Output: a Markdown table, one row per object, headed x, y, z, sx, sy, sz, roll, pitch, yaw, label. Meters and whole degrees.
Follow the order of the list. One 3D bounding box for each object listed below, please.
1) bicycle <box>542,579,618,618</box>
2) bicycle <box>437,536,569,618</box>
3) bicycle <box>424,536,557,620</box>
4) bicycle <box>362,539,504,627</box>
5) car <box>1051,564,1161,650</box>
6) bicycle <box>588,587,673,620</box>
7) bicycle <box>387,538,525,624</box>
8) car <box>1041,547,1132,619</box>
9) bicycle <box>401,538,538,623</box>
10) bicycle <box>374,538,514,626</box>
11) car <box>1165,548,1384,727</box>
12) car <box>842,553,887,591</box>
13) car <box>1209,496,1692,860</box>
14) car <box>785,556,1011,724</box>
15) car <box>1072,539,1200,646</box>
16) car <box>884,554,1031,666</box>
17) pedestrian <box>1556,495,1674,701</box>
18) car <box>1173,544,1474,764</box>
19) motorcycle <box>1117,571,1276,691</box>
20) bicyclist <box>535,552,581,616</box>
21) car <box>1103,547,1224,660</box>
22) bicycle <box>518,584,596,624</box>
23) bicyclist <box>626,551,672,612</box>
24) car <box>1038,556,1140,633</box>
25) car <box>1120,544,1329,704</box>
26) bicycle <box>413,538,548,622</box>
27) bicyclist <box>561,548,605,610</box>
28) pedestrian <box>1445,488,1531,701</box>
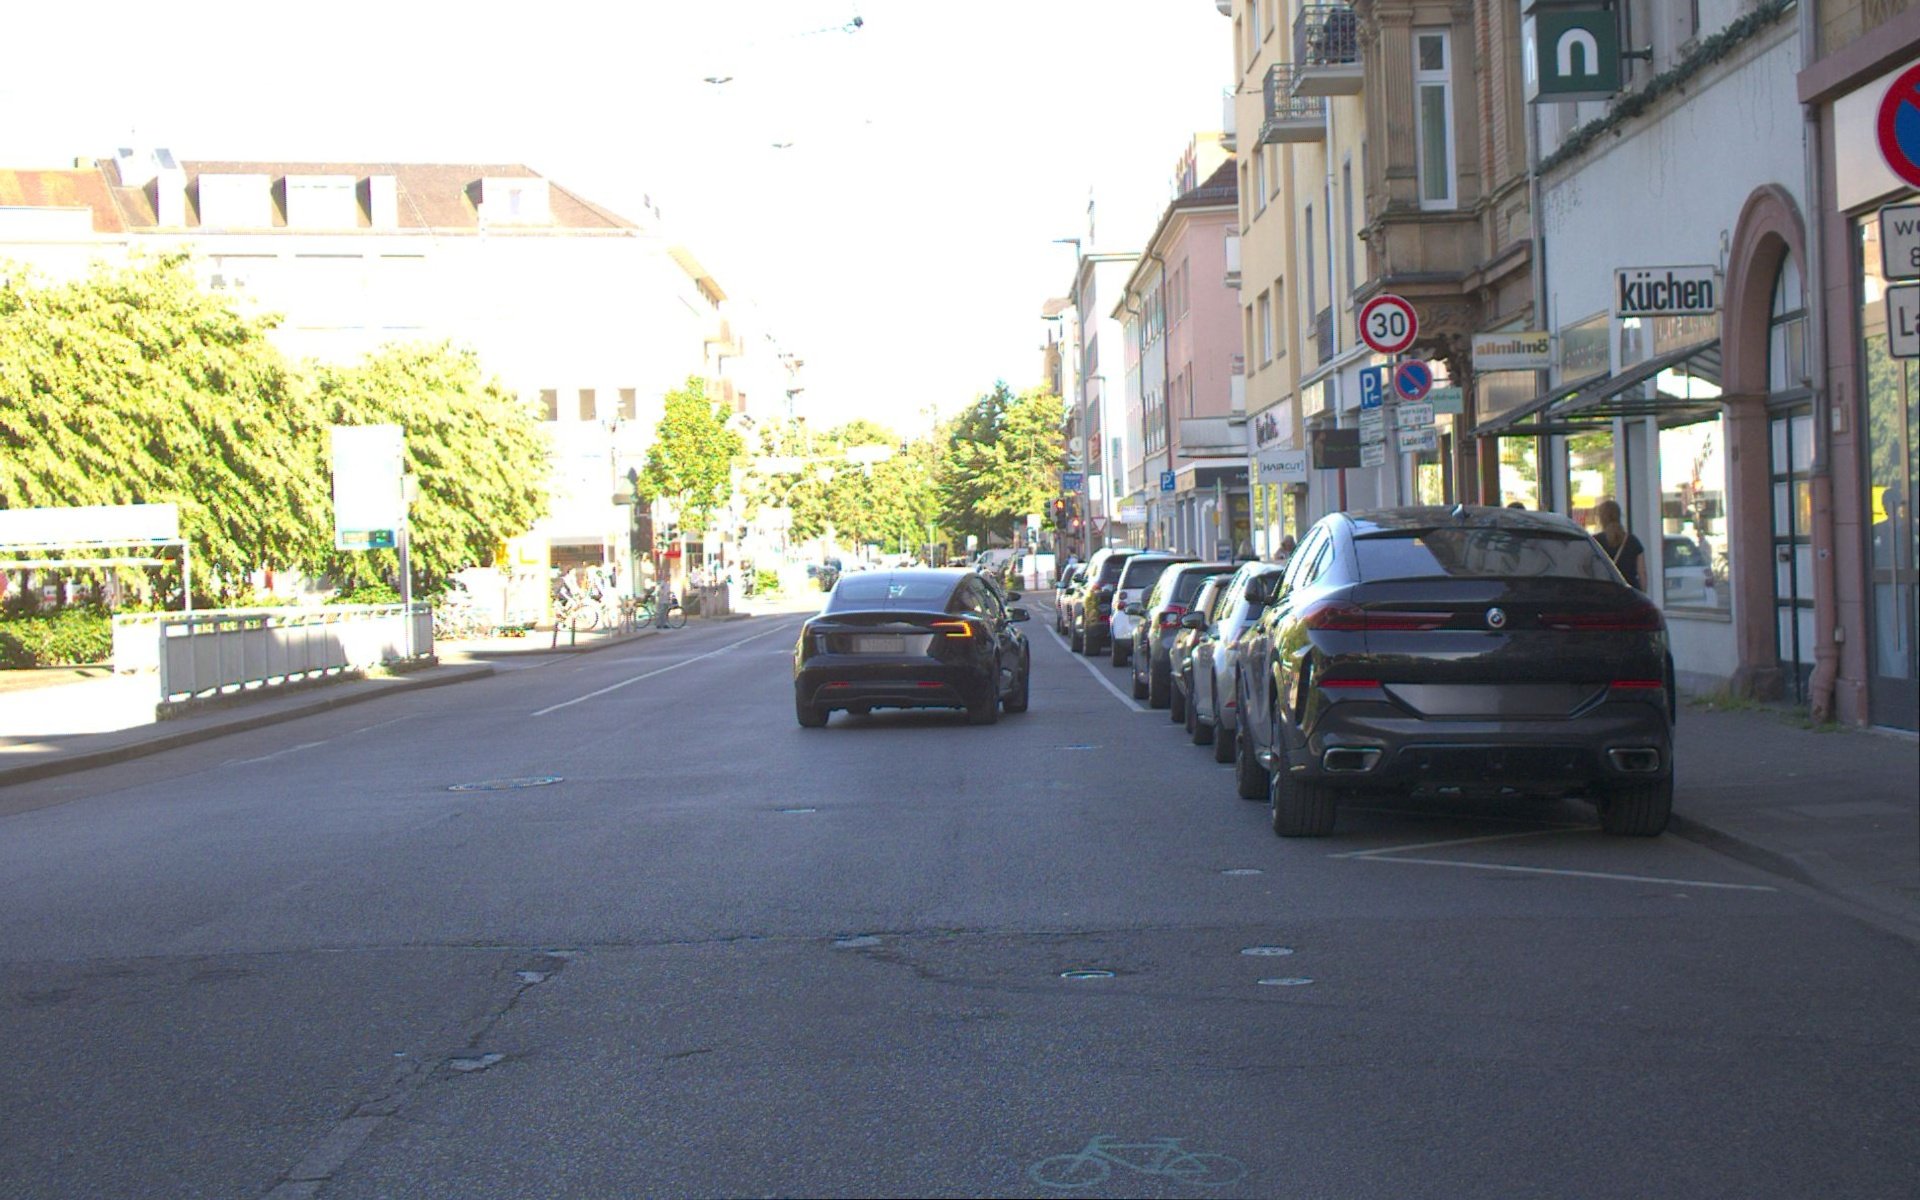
| x | y | z | sx | sy | sz | roll | pitch | yaw | label |
| --- | --- | --- | --- | --- | --- | --- | --- | --- | --- |
| -10.495 | -0.049 | 95.041 | 2.011 | 1.018 | 0.762 | -1 | 1 | -3 | bicycle |
| -11.539 | -0.582 | 86.840 | 3.122 | 2.007 | 0.908 | -1 | 1 | 10 | bicycle |
| -11.703 | -0.550 | 85.800 | 3.122 | 2.007 | 0.908 | -1 | 1 | 10 | bicycle |
| -12.372 | -0.407 | 80.695 | 3.122 | 2.007 | 0.908 | -1 | 1 | 10 | bicycle |
| 2.558 | 0.120 | 60.909 | 1.792 | 1.455 | 4.084 | 0 | 0 | 0 | car |
| -9.315 | 0.102 | 97.134 | 2.244 | 0.880 | 0.923 | -1 | 1 | 4 | bicycle |
| -12.105 | -0.464 | 82.639 | 3.122 | 2.007 | 0.908 | -1 | 1 | 10 | bicycle |
| 2.625 | -0.338 | 72.169 | 1.792 | 1.455 | 3.868 | 0 | 0 | 0 | car |
| -11.930 | -0.471 | 83.683 | 3.122 | 2.007 | 0.908 | -1 | 1 | 10 | bicycle |
| -12.251 | -0.435 | 81.650 | 3.122 | 2.007 | 0.908 | -1 | 1 | 10 | bicycle |
| 2.720 | 0.281 | 30.375 | 1.608 | 1.444 | 3.830 | 0 | 1 | 0 | car |
| -4.728 | -1.401 | 170.012 | 1.993 | 1.765 | 4.000 | 0 | 2 | 2 | car |
| 2.503 | 0.318 | 18.727 | 1.973 | 1.719 | 4.824 | 0 | 1 | 0 | car |
| -0.576 | 0.356 | 32.691 | 1.995 | 1.475 | 4.495 | 0 | 0 | -1 | car |
| 2.762 | -0.111 | 54.628 | 1.716 | 1.630 | 4.084 | 0 | 0 | -1 | car |
| 0.005 | 0.110 | 49.639 | 1.935 | 1.482 | 4.271 | -1 | 1 | 2 | car |
| 5.496 | -0.023 | 28.877 | 0.801 | 1.669 | 0.589 | -3 | 1 | 3 | pedestrian |
| 2.632 | 0.340 | 25.757 | 1.839 | 1.482 | 4.184 | 0 | 1 | 0 | car |
| 2.779 | 0.350 | 40.201 | 2.039 | 1.323 | 0.656 | -2 | 1 | -45 | motorcycle |
| -10.844 | -0.432 | 92.743 | 1.146 | 1.680 | 0.919 | -1 | 1 | -3 | bicyclist |
| 2.878 | 0.024 | 49.009 | 1.613 | 1.541 | 2.855 | 0 | 1 | 1 | car |
| -10.872 | 0.095 | 92.749 | 2.011 | 1.018 | 0.888 | -1 | 1 | -3 | bicycle |
| -8.783 | -0.517 | 97.086 | 1.146 | 1.680 | 0.914 | -1 | 1 | 4 | bicyclist |
| 2.517 | -0.105 | 67.777 | 1.792 | 1.455 | 3.868 | 0 | 0 | -1 | car |
| 2.716 | 0.205 | 36.127 | 1.839 | 1.541 | 4.228 | 0 | 1 | 0 | car |
| -11.822 | -0.491 | 84.764 | 3.122 | 2.007 | 0.908 | -1 | 1 | 10 | bicycle |
| -10.418 | -0.574 | 95.043 | 1.146 | 1.680 | 0.819 | -1 | 1 | -3 | bicyclist |
| 4.453 | -0.049 | 29.003 | 0.620 | 1.760 | 0.518 | -2 | 1 | 3 | pedestrian |
